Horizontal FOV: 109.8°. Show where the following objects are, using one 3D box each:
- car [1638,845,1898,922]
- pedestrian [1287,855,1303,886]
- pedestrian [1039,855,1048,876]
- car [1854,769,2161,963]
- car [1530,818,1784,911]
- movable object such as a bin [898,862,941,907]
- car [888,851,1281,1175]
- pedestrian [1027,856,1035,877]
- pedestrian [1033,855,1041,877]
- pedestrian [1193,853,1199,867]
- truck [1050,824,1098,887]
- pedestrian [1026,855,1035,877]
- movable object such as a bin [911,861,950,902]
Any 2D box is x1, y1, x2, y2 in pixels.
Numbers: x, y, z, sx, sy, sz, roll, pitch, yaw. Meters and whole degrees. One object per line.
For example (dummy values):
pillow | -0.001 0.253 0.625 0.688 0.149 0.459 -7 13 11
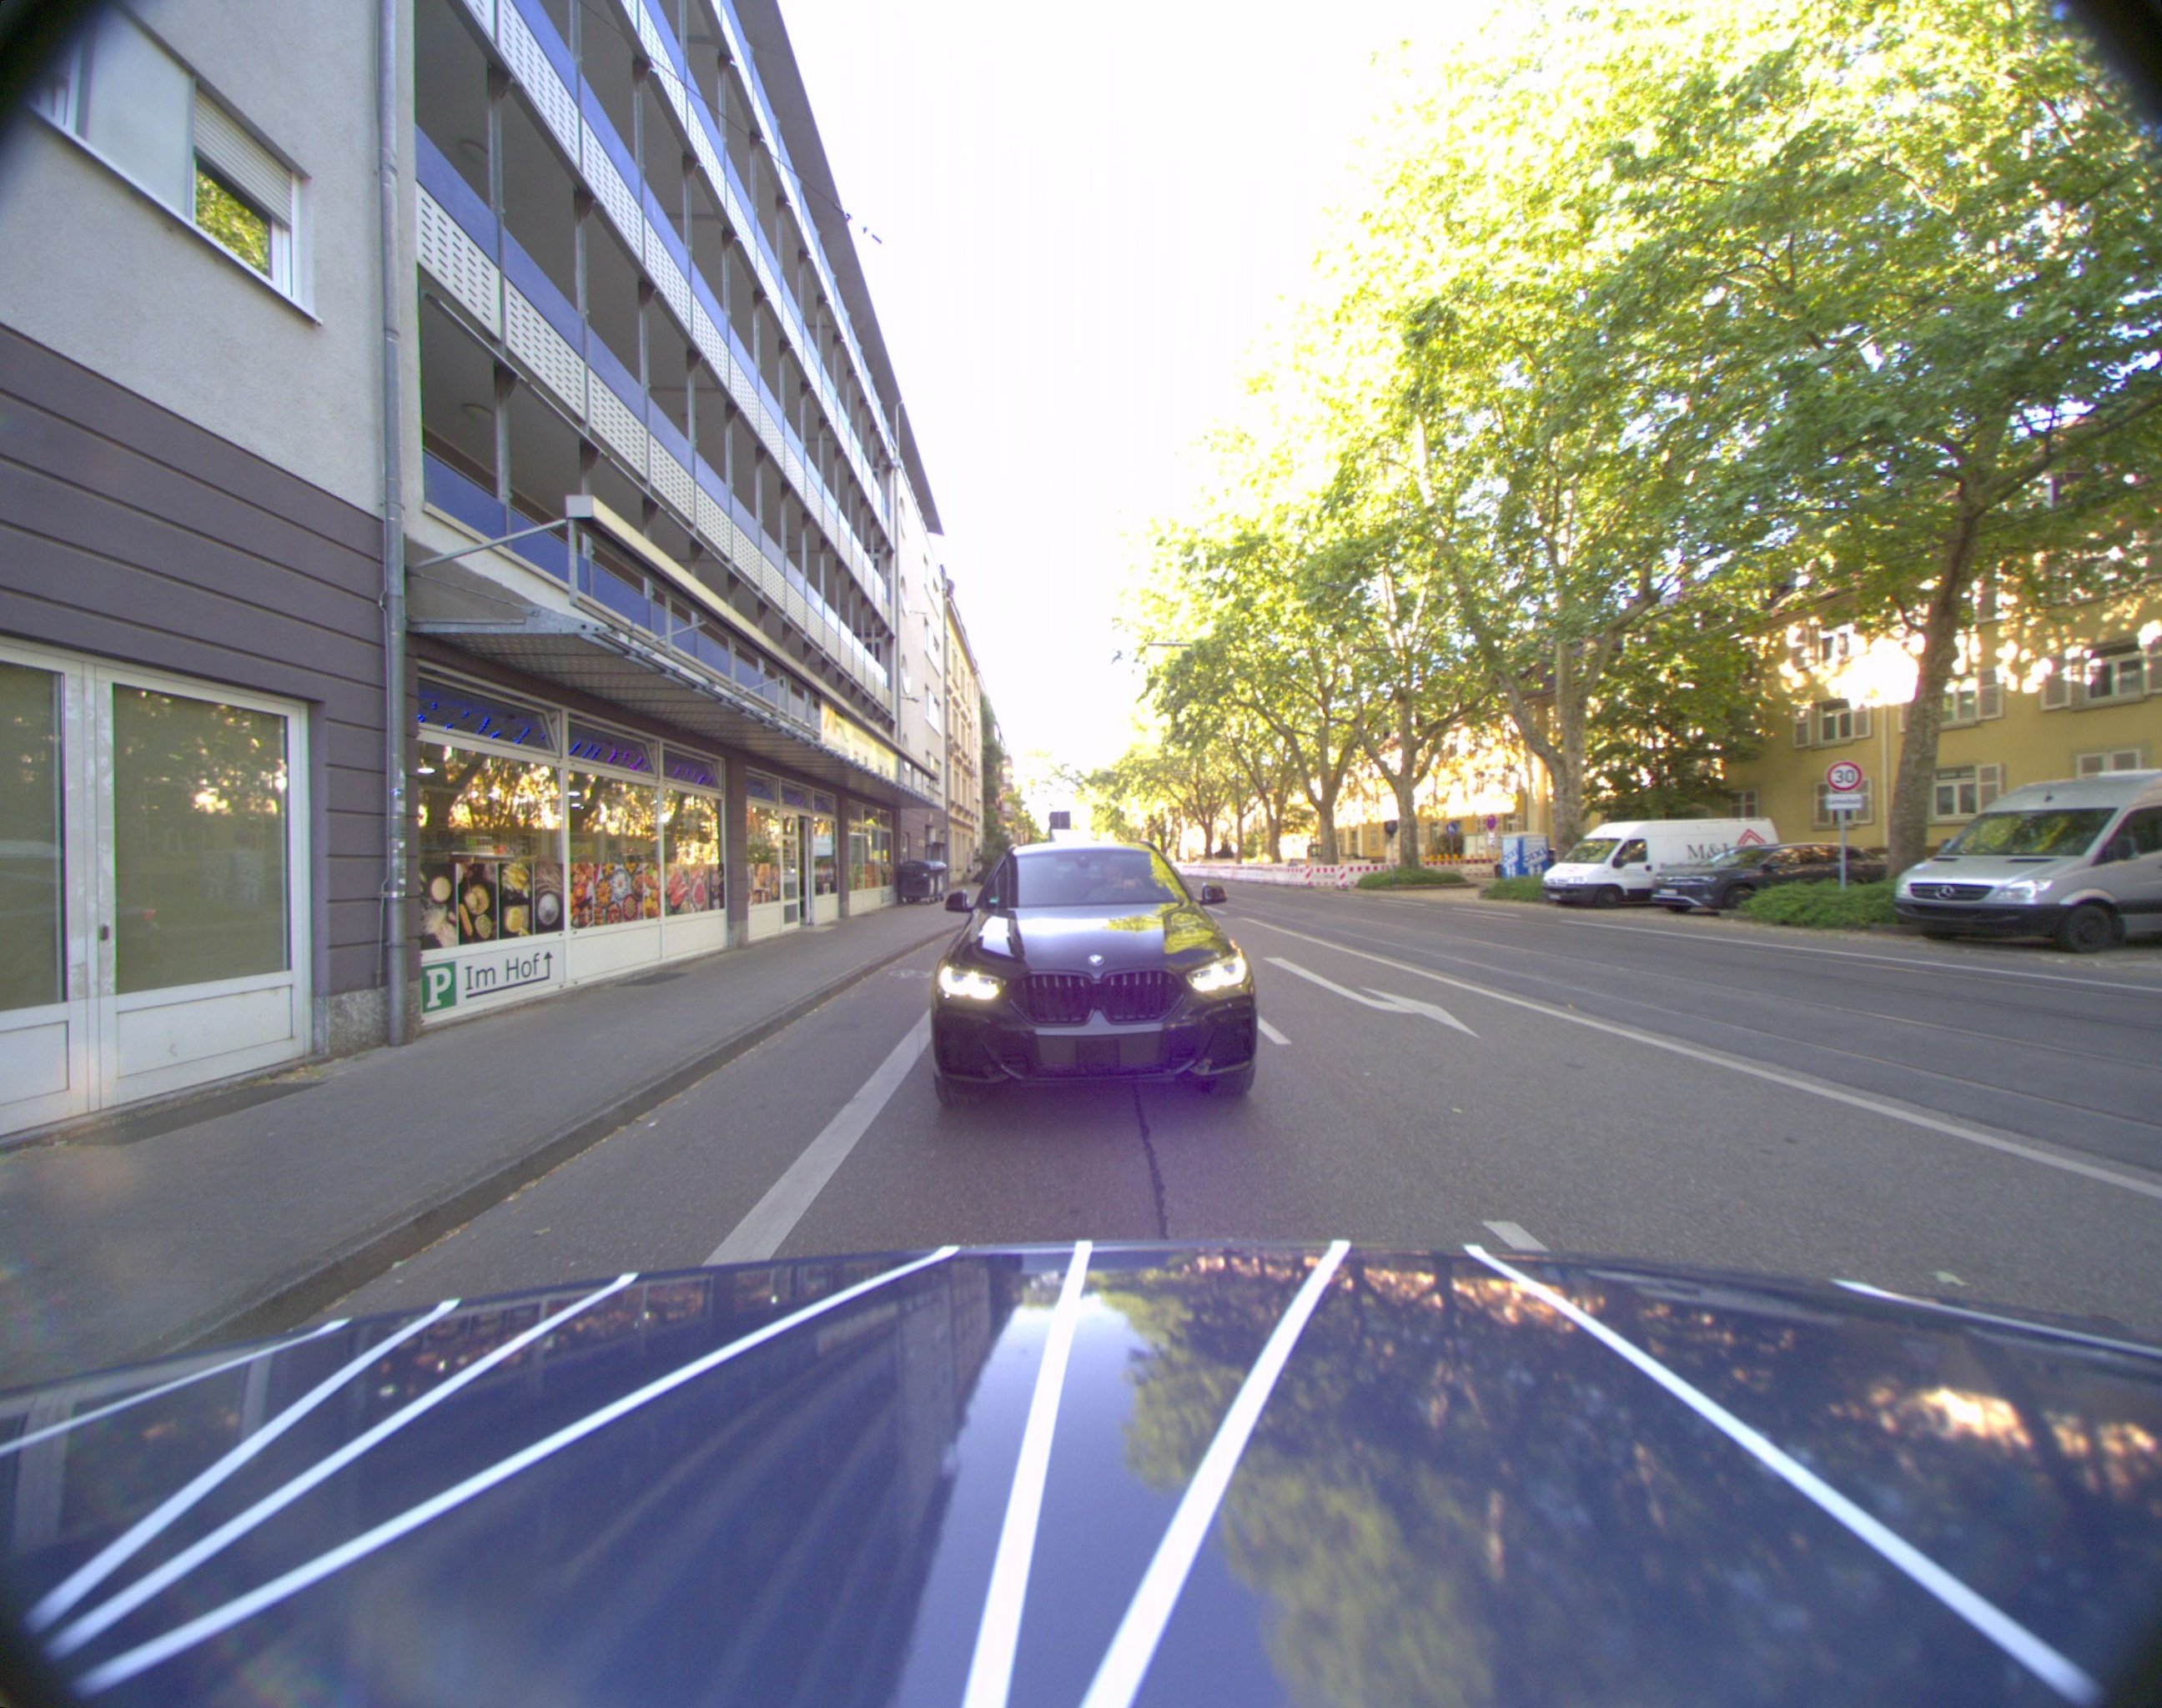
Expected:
car | 16.081 0.654 17.939 4.627 1.642 1.774 -1 0 -2
pedestrian | 11.984 0.920 42.599 0.652 1.735 0.582 -2 1 -9
pedestrian | -3.342 1.031 67.628 0.733 1.875 0.664 -2 1 -1
car | 15.988 0.124 11.857 5.666 2.666 2.223 -2 0 -2
car | 15.848 0.286 21.146 5.404 2.362 2.223 -1 0 0
movable object such as a bin | -5.221 0.983 24.646 1.158 1.418 0.939 -1 0 1
car | 0.046 0.827 6.062 1.998 1.643 4.295 -1 0 1
pedestrian | -4.380 1.092 66.647 0.600 1.875 0.581 -2 1 -1
pedestrian | -3.805 1.074 66.275 0.600 1.875 0.581 -2 1 -1
pedestrian | 16.427 0.879 108.774 0.732 1.875 0.665 -2 1 8
truck | -0.311 0.119 42.258 2.394 3.170 6.587 -1 0 1
pedestrian | -4.531 1.078 68.407 0.733 1.875 0.664 -2 1 -1
movable object such as a bin | -5.280 0.950 26.684 1.158 1.418 0.939 -1 0 1
